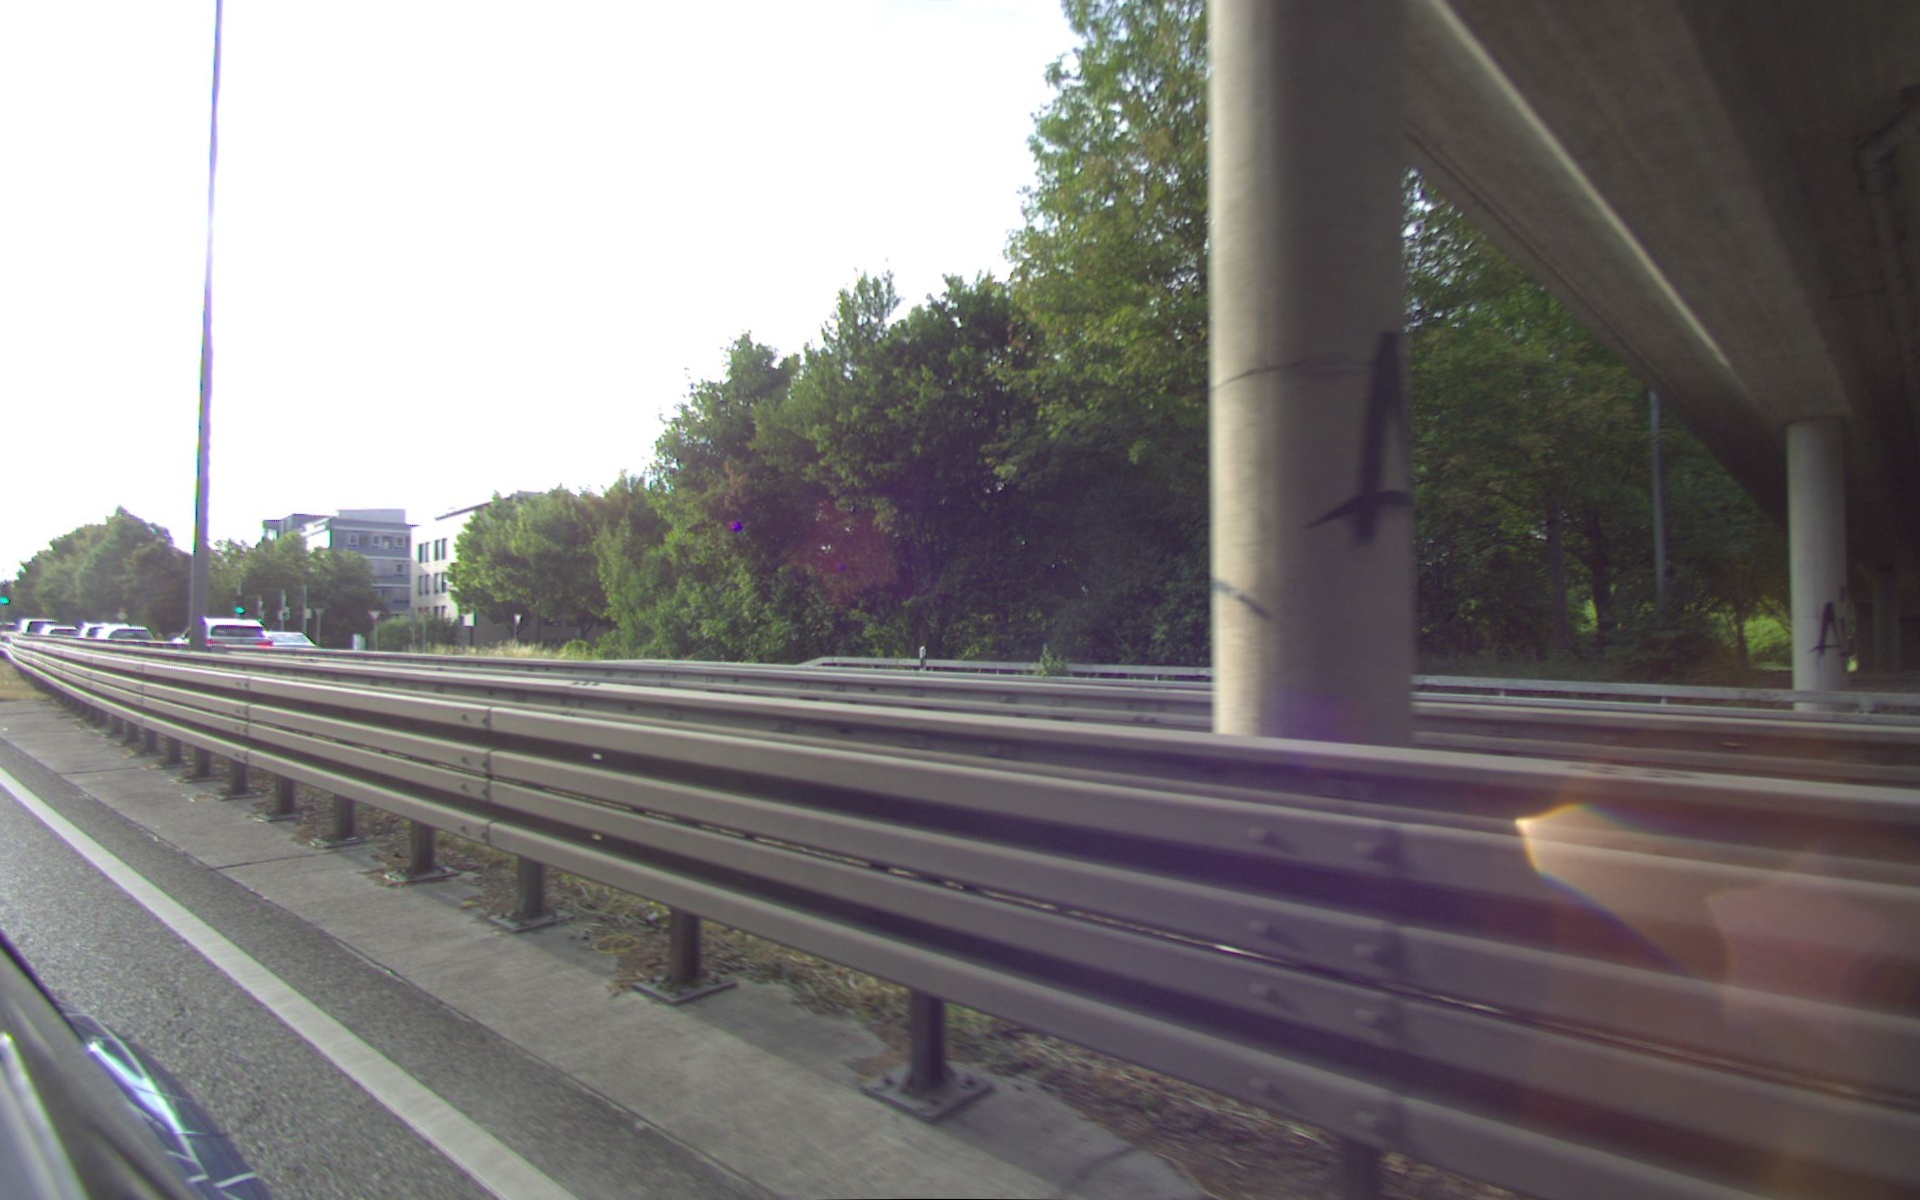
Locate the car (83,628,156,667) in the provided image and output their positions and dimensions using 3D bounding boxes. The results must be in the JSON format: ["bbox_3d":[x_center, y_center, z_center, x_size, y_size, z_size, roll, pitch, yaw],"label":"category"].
[{"bbox_3d":[-33.222,1.843,39.981,3.733,1.478,1.700,-1,-2,42],"label":"car"}]

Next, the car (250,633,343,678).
[{"bbox_3d":[-24.214,1.995,36.901,4.397,1.548,1.814,-1,-3,43],"label":"car"}]

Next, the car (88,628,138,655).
[{"bbox_3d":[-56.814,2.781,67.821,4.846,1.763,2.011,-2,-3,44],"label":"car"}]

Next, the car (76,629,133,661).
[{"bbox_3d":[-39.299,2.079,46.455,3.462,1.371,1.539,-3,-1,42],"label":"car"}]

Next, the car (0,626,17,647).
[{"bbox_3d":[-87.112,3.311,91.822,5.346,1.886,1.913,-1,-1,42],"label":"car"}]

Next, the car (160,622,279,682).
[{"bbox_3d":[-21.232,1.429,28.958,4.789,1.596,1.803,-1,-2,42],"label":"car"}]

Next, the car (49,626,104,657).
[{"bbox_3d":[-47.784,2.210,54.715,4.553,1.601,1.694,-1,-2,42],"label":"car"}]

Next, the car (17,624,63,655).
[{"bbox_3d":[-60.242,2.551,66.230,5.051,1.931,1.877,-2,-2,44],"label":"car"}]
